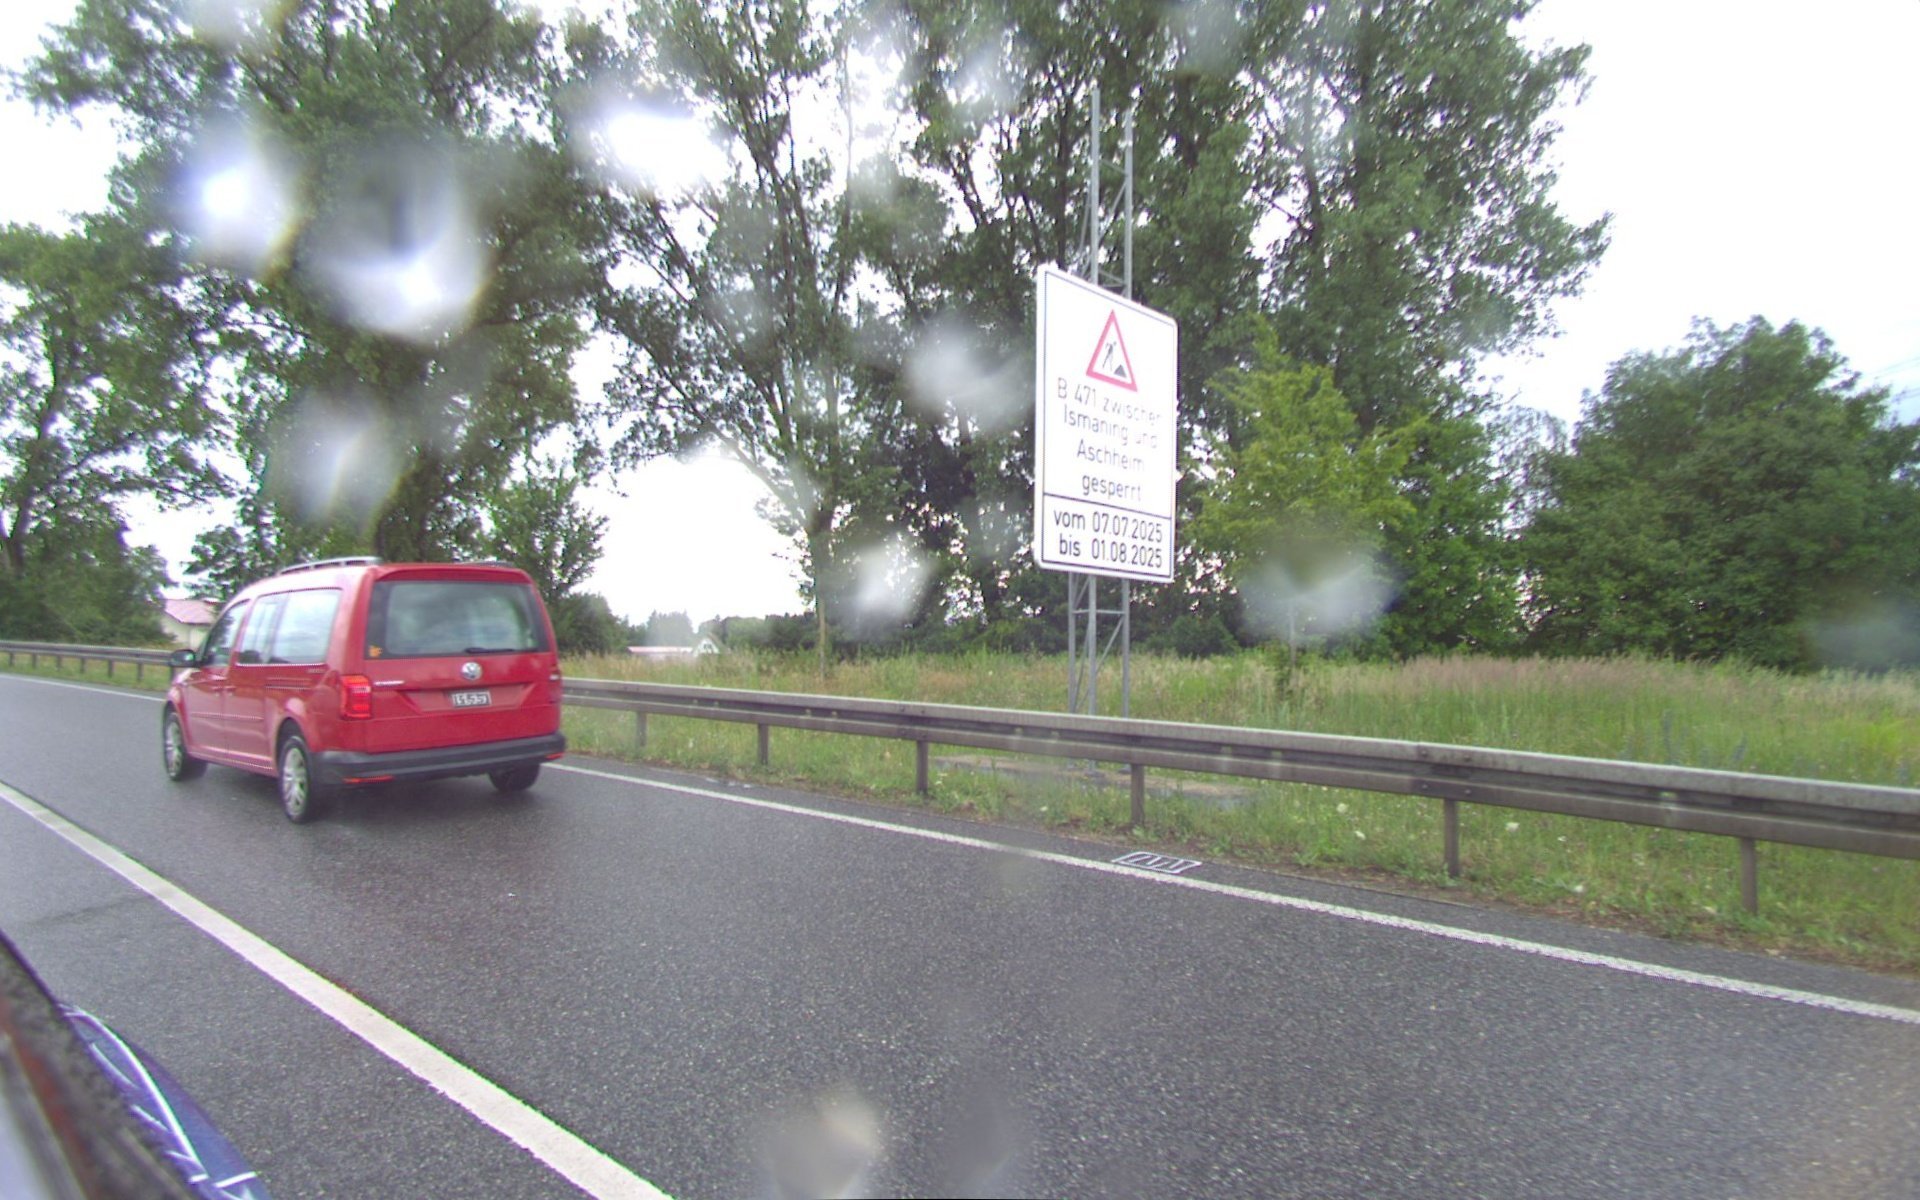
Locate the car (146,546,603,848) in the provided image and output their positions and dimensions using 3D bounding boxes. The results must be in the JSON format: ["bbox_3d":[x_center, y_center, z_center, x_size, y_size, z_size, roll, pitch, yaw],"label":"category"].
[{"bbox_3d":[-5.017,0.637,8.393,4.515,1.864,1.784,-1,-1,39],"label":"car"}]
